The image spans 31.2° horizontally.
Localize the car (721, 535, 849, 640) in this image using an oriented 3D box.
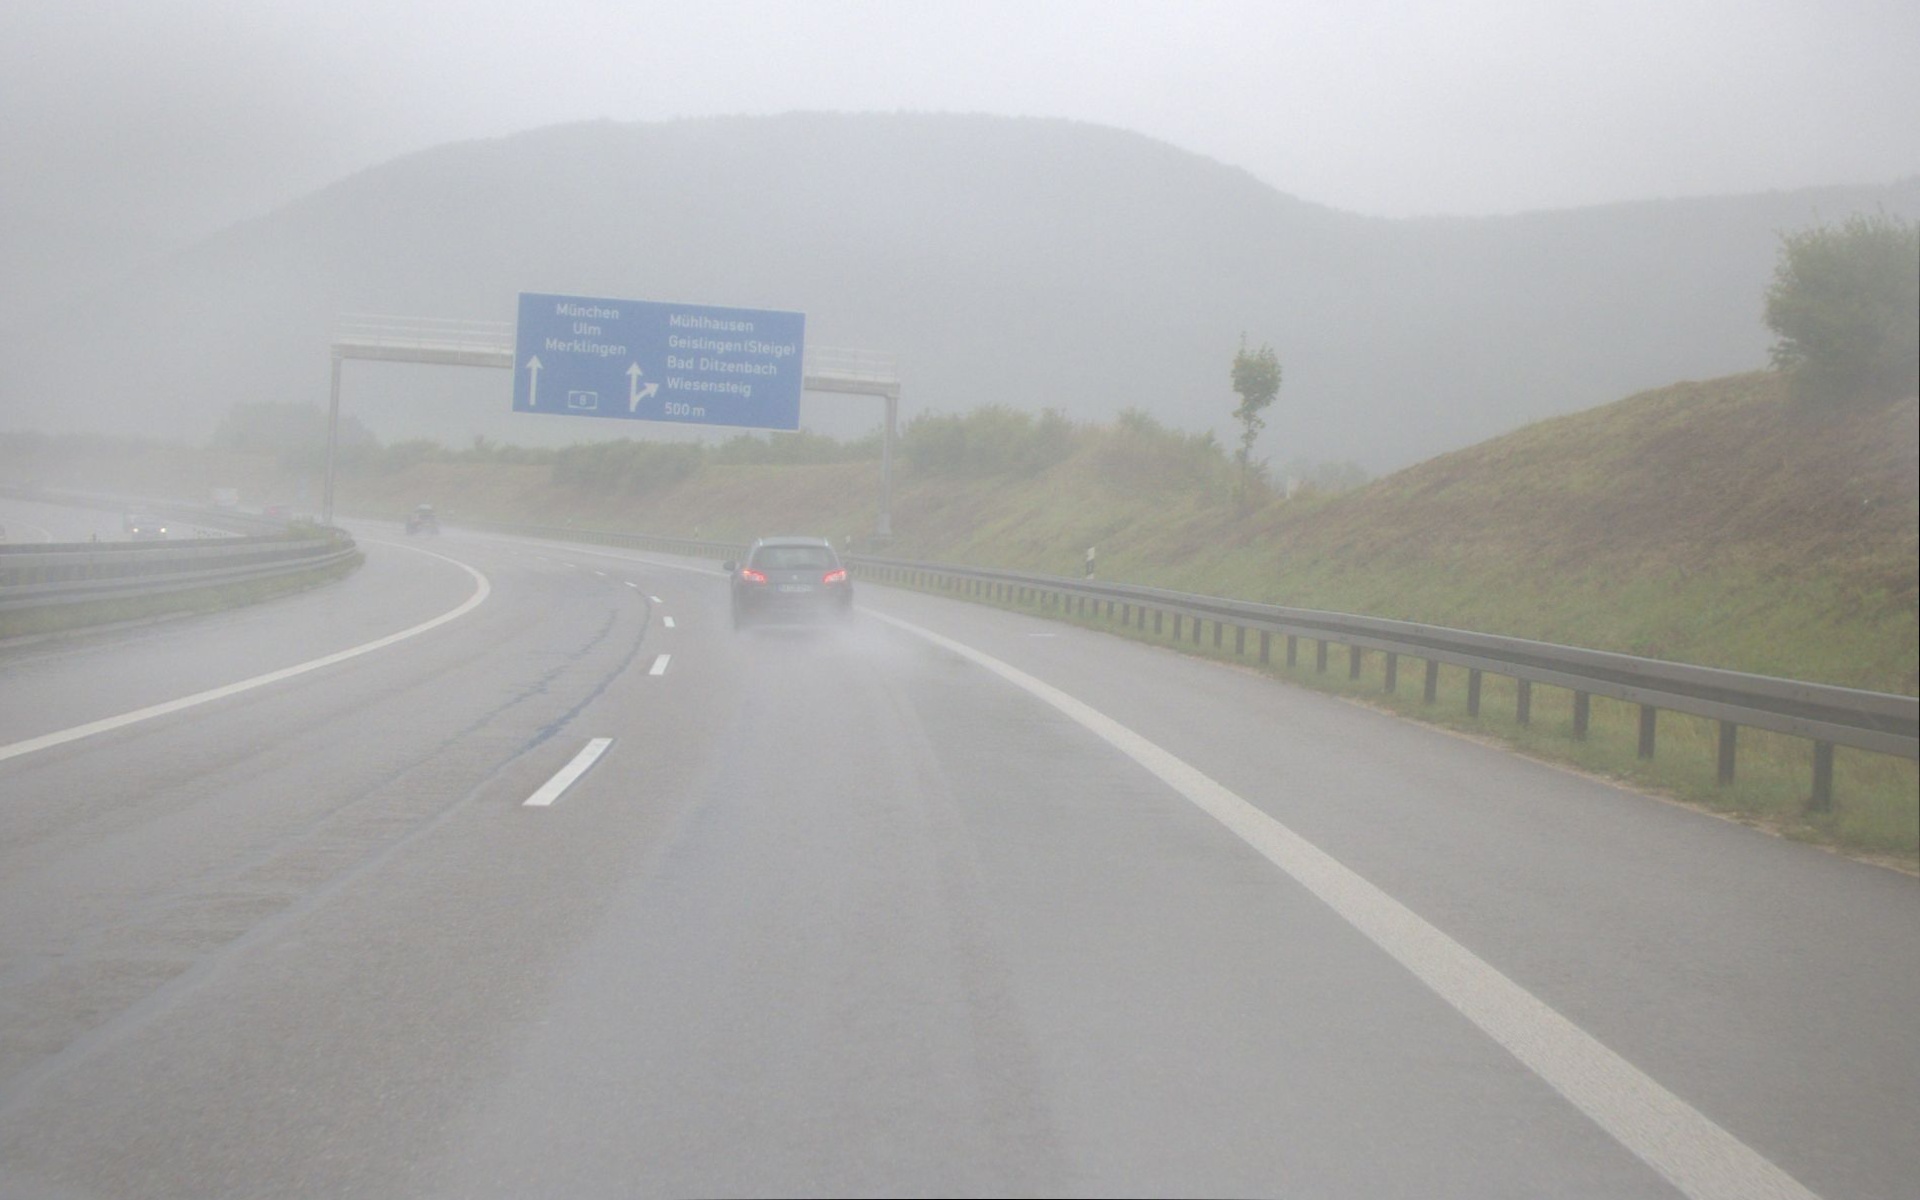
[{"bbox_3d":[-2.691,-0.212,52.168,1.679,1.467,3.815,2,1,-6],"label":"car"}]
